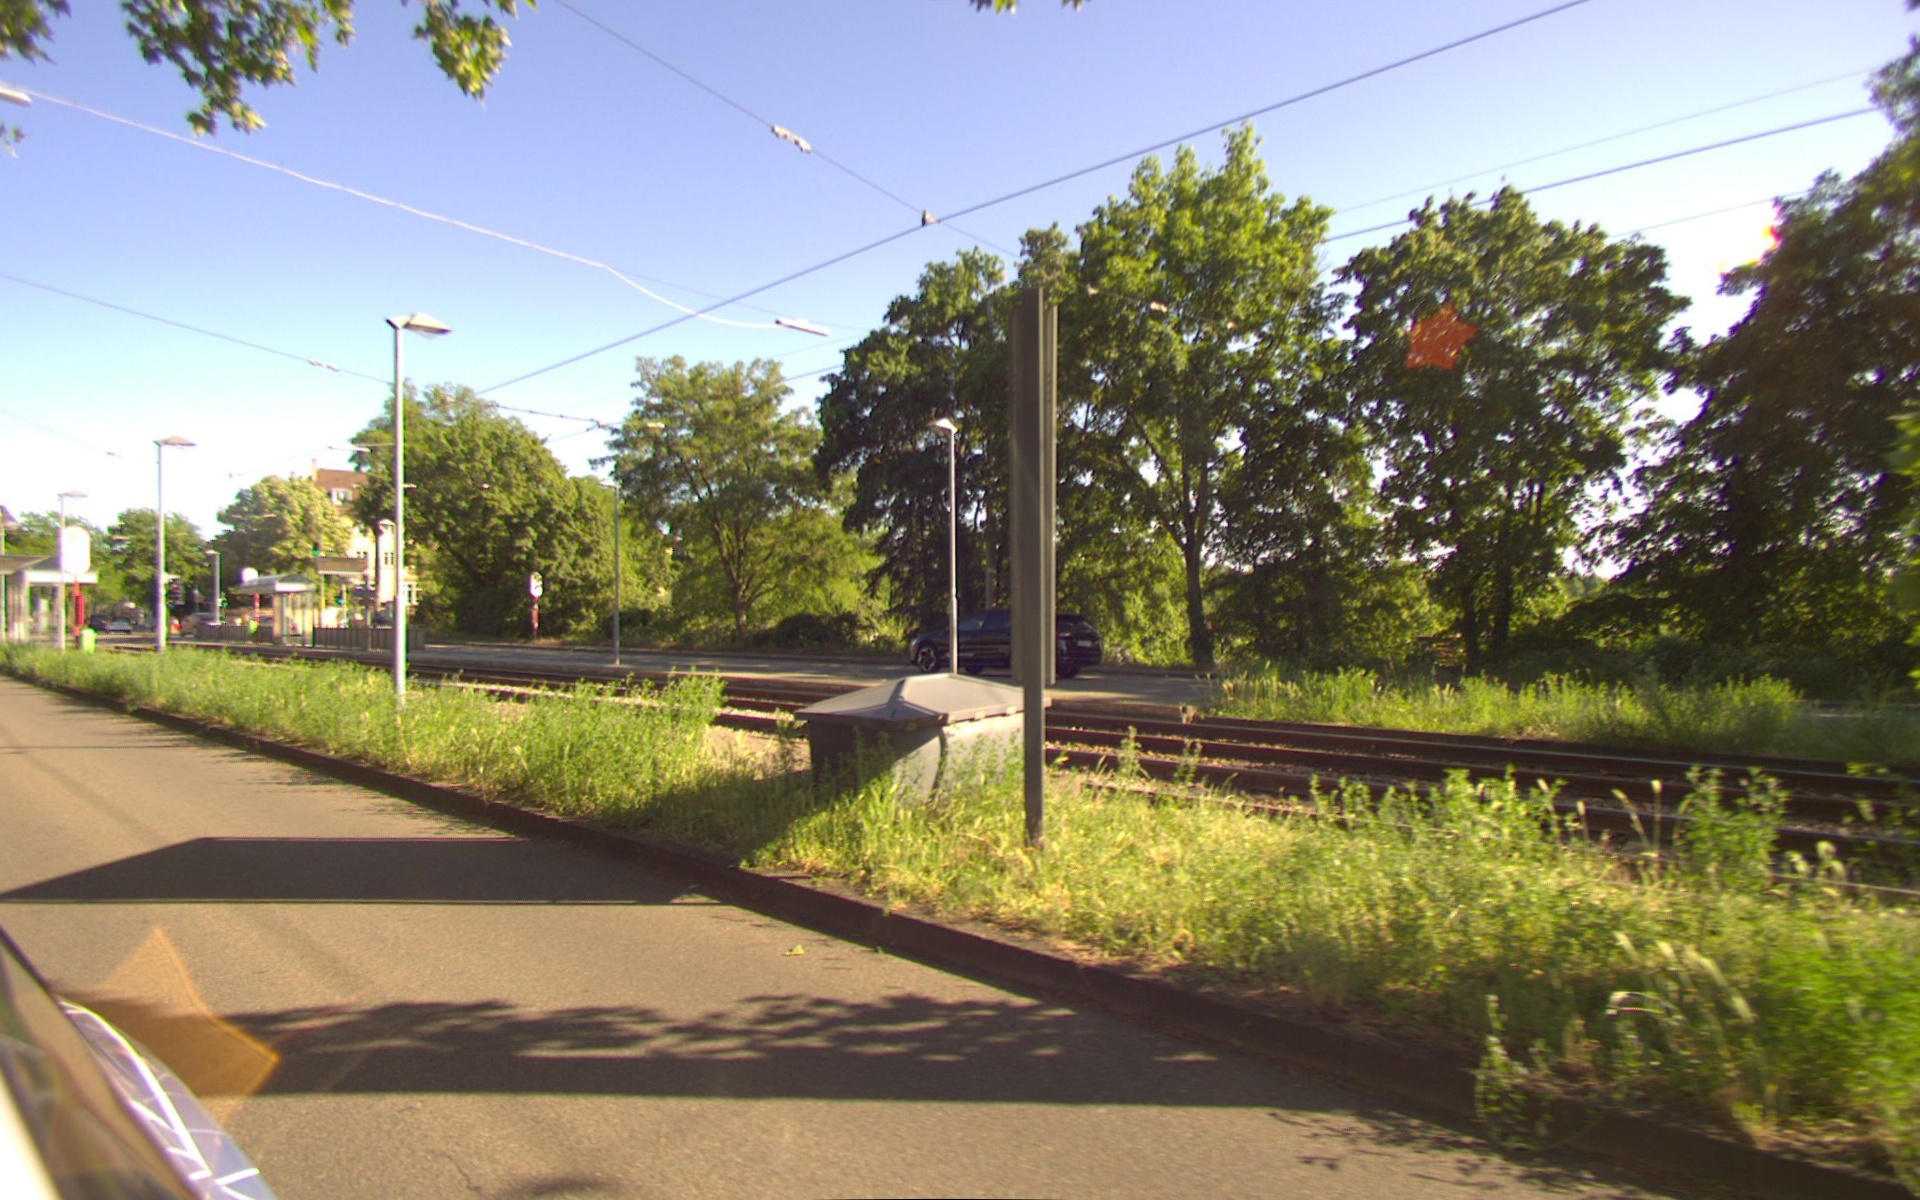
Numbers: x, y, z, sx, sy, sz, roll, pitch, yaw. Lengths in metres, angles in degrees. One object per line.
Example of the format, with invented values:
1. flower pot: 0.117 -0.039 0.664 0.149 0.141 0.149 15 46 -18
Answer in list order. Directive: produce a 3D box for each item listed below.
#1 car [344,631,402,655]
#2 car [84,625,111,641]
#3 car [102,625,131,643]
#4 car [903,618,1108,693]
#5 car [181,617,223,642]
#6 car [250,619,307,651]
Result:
1. car: -29.827 2.161 51.366 3.675 1.126 1.473 -1 0 42
2. car: -85.775 3.294 100.659 1.827 1.497 3.550 -1 0 -44
3. car: -72.537 2.905 87.094 1.825 1.389 3.446 -1 0 -39
4. car: 0.927 1.185 22.612 4.592 1.506 1.619 -1 -4 43
5. car: -50.977 1.966 68.025 3.672 1.569 1.592 -1 0 42
6. car: -35.122 1.767 52.145 3.672 1.569 1.592 -1 0 42
